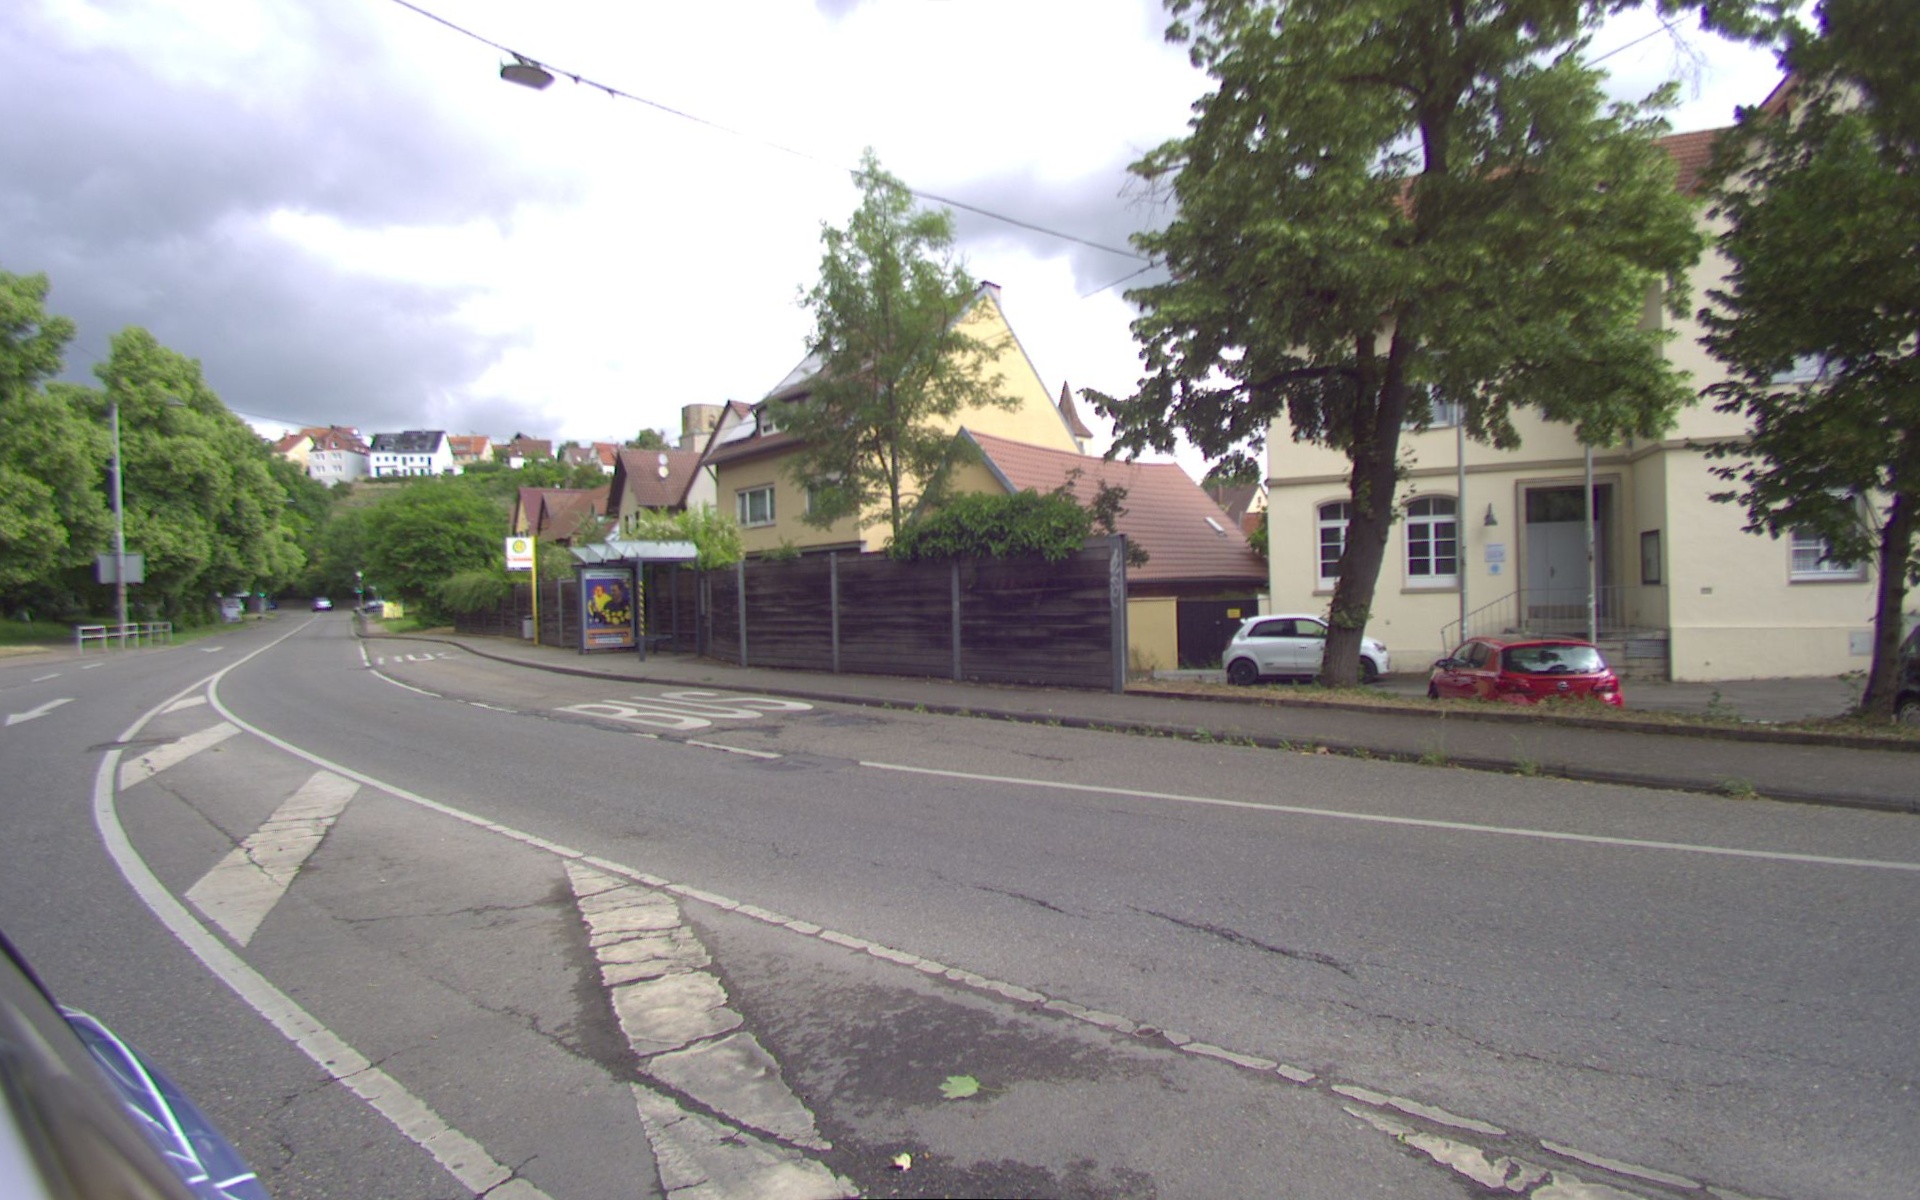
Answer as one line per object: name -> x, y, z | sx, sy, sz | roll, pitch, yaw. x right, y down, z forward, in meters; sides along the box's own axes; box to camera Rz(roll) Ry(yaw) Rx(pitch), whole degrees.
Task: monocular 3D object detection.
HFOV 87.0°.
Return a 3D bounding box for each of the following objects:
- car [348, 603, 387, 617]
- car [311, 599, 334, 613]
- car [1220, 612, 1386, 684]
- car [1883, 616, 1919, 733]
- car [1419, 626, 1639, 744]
car -> -68.384, 1.150, 116.765 | 3.619, 1.596, 1.771 | -1, 0, -20
car -> -82.096, 0.771, 130.285 | 1.968, 1.630, 4.008 | -1, 0, -39
car -> 7.727, 1.059, 22.888 | 3.411, 1.490, 1.600 | -1, 0, 21
car -> 12.644, 0.931, 11.308 | 1.626, 1.450, 3.567 | -1, 0, 7
car -> 8.146, 1.148, 14.883 | 1.644, 1.393, 3.708 | -1, 0, 10
